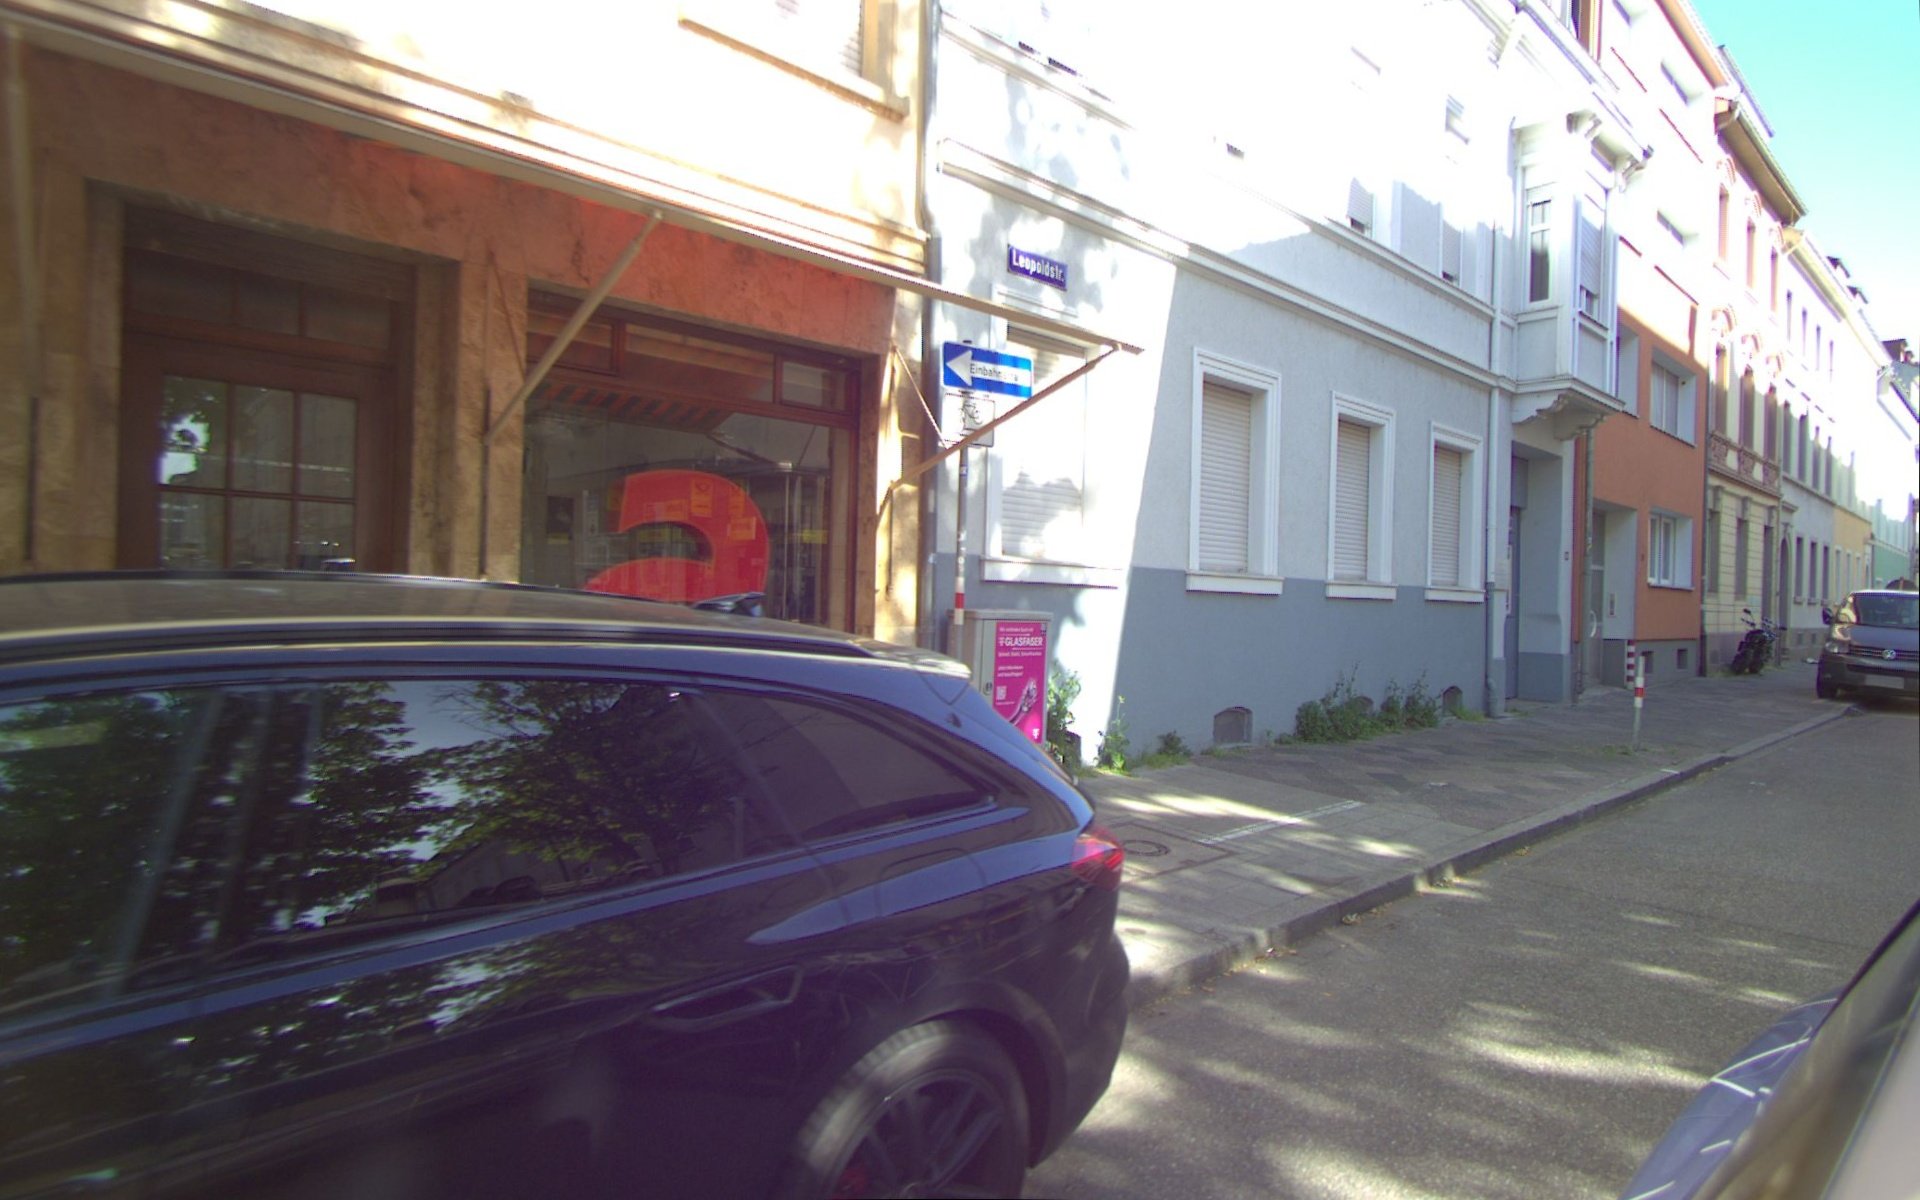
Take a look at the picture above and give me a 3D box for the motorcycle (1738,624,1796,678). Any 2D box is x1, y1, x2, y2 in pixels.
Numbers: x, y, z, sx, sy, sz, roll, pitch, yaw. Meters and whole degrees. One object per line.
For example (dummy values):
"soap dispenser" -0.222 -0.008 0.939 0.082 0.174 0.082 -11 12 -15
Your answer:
"motorcycle" 17.416 1.070 21.827 2.324 1.057 0.637 0 1 -43

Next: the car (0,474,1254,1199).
"car" -1.613 0.661 1.759 4.812 1.599 1.804 1 -1 -42

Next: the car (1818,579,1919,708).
"car" 16.852 0.716 17.893 4.815 2.055 1.972 1 -1 -42
